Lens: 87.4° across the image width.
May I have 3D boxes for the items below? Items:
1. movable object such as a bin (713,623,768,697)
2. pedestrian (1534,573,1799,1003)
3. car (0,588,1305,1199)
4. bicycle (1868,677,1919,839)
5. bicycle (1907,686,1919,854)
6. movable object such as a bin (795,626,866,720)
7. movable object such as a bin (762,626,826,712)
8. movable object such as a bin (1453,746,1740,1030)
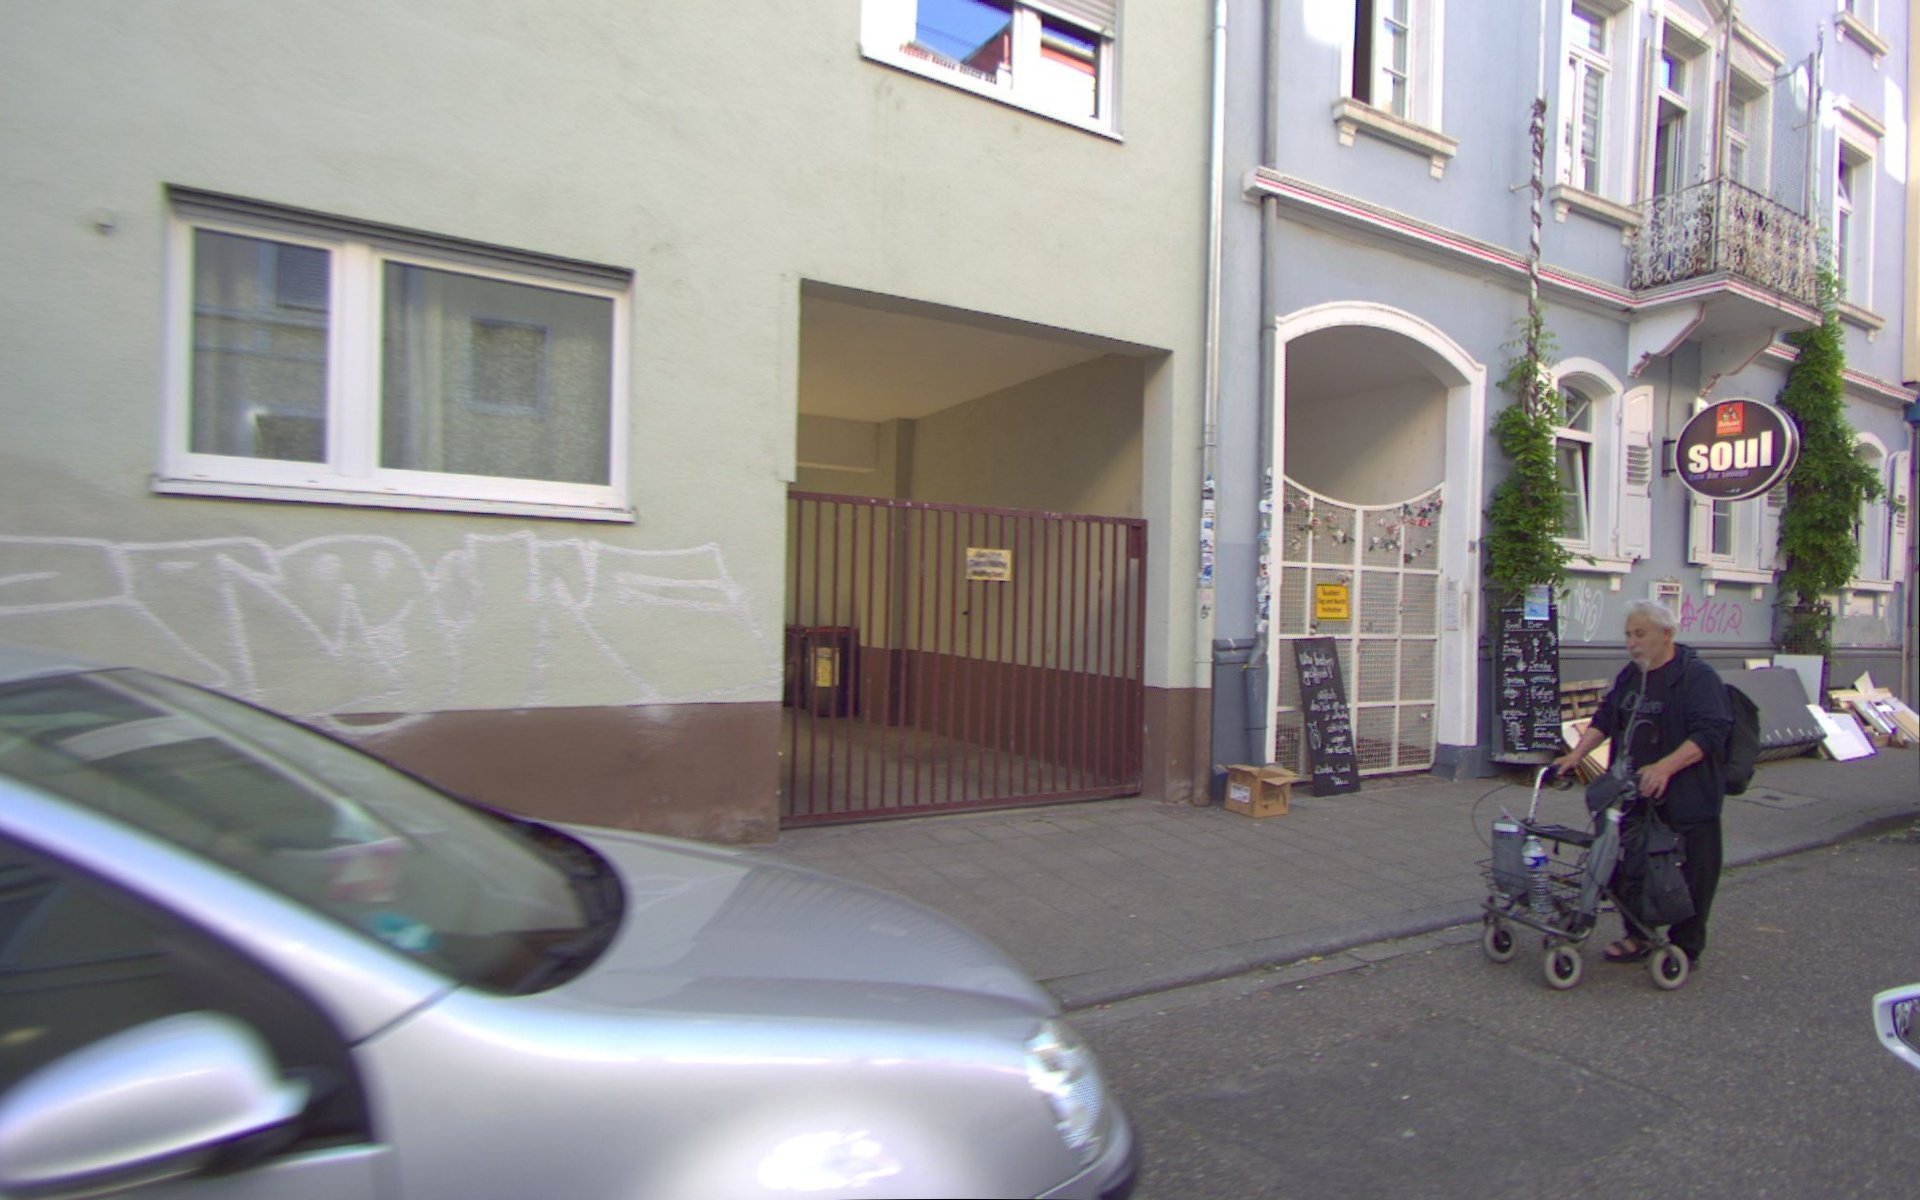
[{"bbox_3d":[-3.343,0.910,15.295,0.676,1.078,0.517,1,1,-30],"label":"movable object such as a bin"},{"bbox_3d":[3.151,0.759,4.508,0.664,1.730,0.709,2,1,-30],"label":"pedestrian"},{"bbox_3d":[-1.584,0.736,1.468,3.981,1.474,1.675,1,-2,-27],"label":"car"},{"bbox_3d":[7.595,1.170,7.696,1.678,1.120,0.441,1,1,-31],"label":"bicycle"},{"bbox_3d":[7.311,1.165,7.072,1.853,1.120,0.441,1,1,-32],"label":"bicycle"},{"bbox_3d":[-1.564,0.867,12.111,0.676,1.078,0.517,1,1,-30],"label":"movable object such as a bin"},{"bbox_3d":[-2.188,0.898,13.236,0.676,1.078,0.517,1,1,-30],"label":"movable object such as a bin"},{"bbox_3d":[2.675,1.153,4.269,0.579,0.909,0.840,2,1,-32],"label":"movable object such as a bin"}]
